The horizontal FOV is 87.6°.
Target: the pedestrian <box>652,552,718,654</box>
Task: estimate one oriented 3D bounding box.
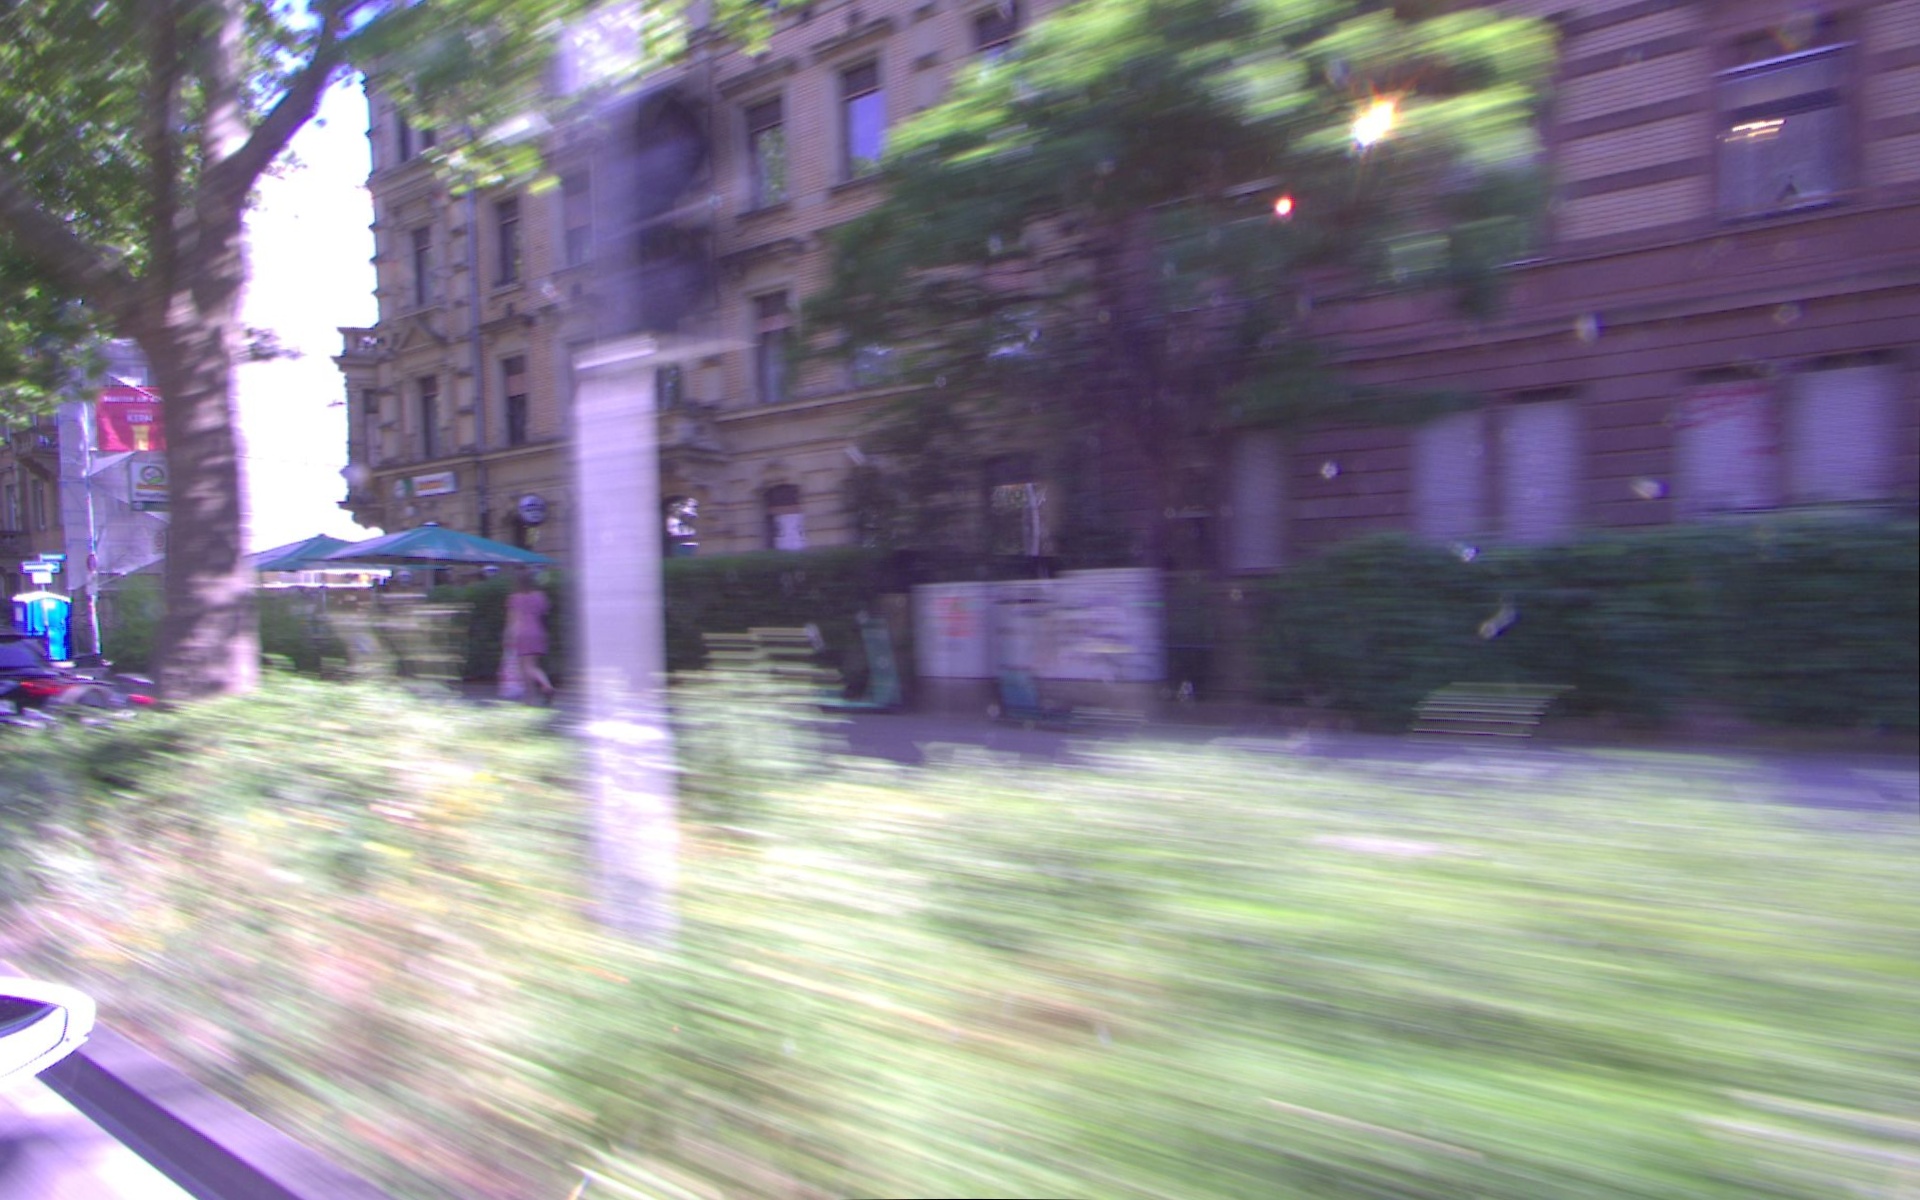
[{"bbox_3d":[-5.058,0.044,18.455,0.726,1.810,0.849,-1,3,24],"label":"pedestrian"}]

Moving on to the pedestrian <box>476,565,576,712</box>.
[{"bbox_3d":[-5.617,0.477,12.979,0.840,1.810,0.734,-1,3,31],"label":"pedestrian"}]

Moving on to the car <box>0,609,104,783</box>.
[{"bbox_3d":[-10.593,0.910,9.980,4.577,1.528,1.829,-1,1,32],"label":"car"}]

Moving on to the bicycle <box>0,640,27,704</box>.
[{"bbox_3d":[-18.333,1.336,18.844,2.278,1.127,0.564,-1,1,33],"label":"bicycle"}]

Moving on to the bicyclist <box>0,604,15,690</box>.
[{"bbox_3d":[-18.248,0.887,18.753,0.571,1.595,0.636,-1,2,33],"label":"bicyclist"}]

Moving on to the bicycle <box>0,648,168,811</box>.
[{"bbox_3d":[-7.305,0.993,8.109,0.462,1.103,1.637,-1,1,-1],"label":"bicycle"}]

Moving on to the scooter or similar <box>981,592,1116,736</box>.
[{"bbox_3d":[0.850,0.587,9.619,1.129,1.300,0.580,-1,2,34],"label":"scooter or similar"}]

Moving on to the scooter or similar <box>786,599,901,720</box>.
[{"bbox_3d":[-1.296,0.643,11.149,1.128,1.264,0.580,-1,1,32],"label":"scooter or similar"}]
